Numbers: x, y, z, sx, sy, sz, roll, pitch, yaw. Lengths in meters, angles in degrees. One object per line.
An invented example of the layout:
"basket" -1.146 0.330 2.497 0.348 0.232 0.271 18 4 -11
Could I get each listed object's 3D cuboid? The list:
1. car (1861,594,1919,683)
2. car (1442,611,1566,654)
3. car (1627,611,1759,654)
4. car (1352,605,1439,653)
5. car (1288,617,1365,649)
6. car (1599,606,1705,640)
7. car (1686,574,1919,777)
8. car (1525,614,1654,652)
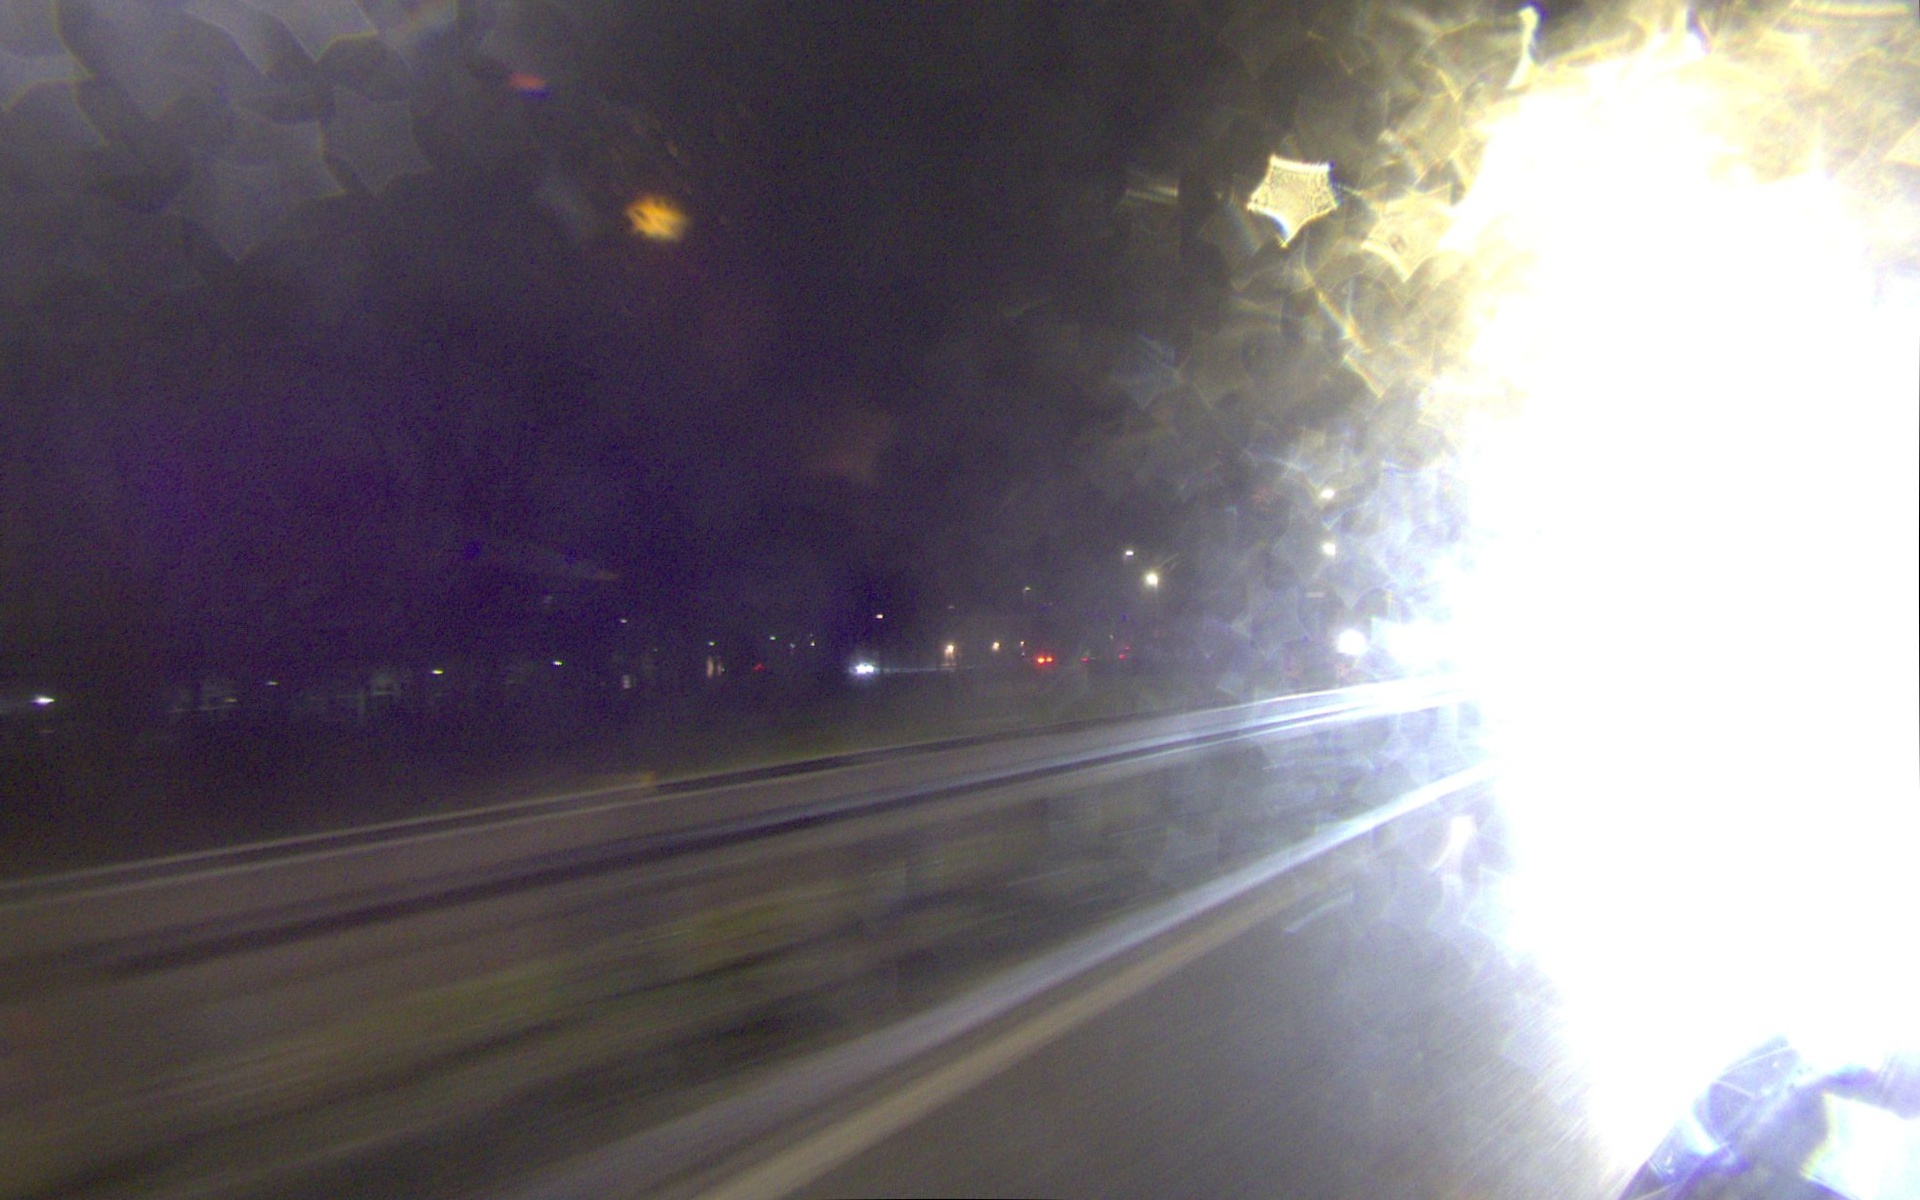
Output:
"car" 19.433 0.732 19.673 4.207 1.641 2.046 1 -2 -37
"car" 22.846 1.329 42.727 1.958 1.661 4.791 0 0 -12
"car" 30.507 1.312 42.269 1.958 1.661 4.126 0 0 -15
"car" 21.172 1.463 49.384 1.728 2.040 4.004 -5 -3 -11
"car" 20.094 1.809 55.704 1.958 1.661 4.352 -1 -2 -12
"car" 37.179 1.230 54.499 1.961 1.720 4.264 1 -2 -32
"car" 9.164 0.633 10.615 1.923 1.736 4.171 1 1 44
"car" 26.252 1.332 42.426 1.958 1.427 4.554 0 0 -12
